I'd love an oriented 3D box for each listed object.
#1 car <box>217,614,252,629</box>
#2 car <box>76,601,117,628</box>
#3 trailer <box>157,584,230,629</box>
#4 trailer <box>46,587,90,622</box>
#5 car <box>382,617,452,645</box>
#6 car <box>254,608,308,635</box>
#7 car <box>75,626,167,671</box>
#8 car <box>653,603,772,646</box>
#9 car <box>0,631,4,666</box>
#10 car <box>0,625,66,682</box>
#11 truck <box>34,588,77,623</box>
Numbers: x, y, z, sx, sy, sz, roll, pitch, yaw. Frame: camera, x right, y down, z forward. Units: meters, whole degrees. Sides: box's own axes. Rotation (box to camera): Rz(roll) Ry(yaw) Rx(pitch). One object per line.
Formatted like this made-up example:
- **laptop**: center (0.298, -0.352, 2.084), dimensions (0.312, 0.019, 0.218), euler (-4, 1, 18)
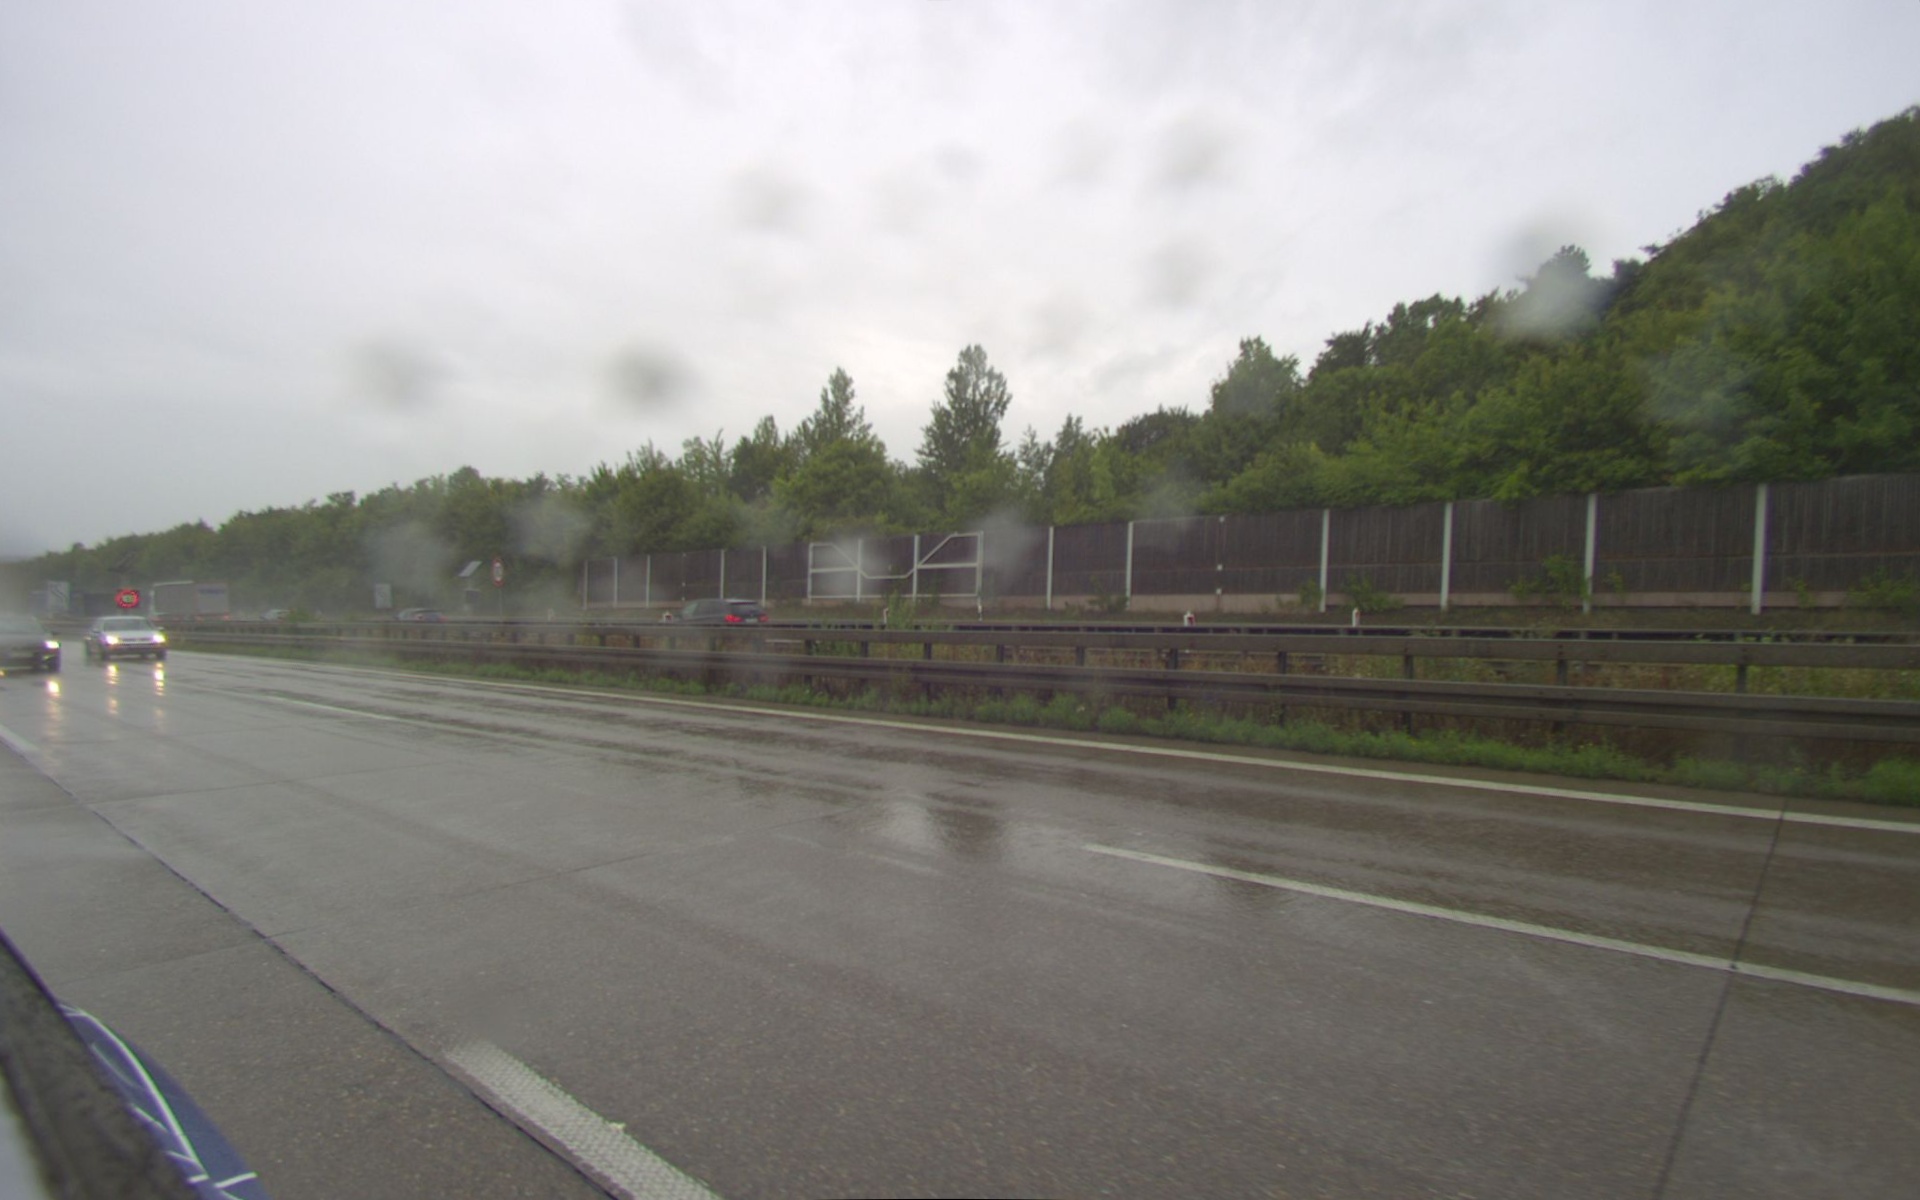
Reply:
- **car**: center (-68.979, 2.013, 96.235), dimensions (4.341, 1.313, 1.735), euler (-1, 1, 41)
- **car**: center (-87.895, 1.480, 102.942), dimensions (7.442, 2.586, 2.160), euler (-1, 1, 42)
- **trailer**: center (-70.722, 0.688, 93.244), dimensions (13.774, 3.830, 2.738), euler (-1, 1, 42)
- **trailer**: center (-110.132, 0.590, 124.915), dimensions (8.520, 4.185, 2.819), euler (-1, 1, 41)
- **car**: center (-28.040, 1.583, 52.226), dimensions (4.341, 1.313, 1.735), euler (-1, 1, 41)
- **car**: center (-44.121, 1.379, 65.758), dimensions (3.998, 1.697, 1.973), euler (-1, -1, 41)
- **car**: center (-28.602, 1.607, 34.464), dimensions (4.346, 1.445, 1.650), euler (-1, -2, 40)
- **car**: center (-8.463, 0.831, 34.429), dimensions (4.341, 1.313, 1.735), euler (-1, 1, 41)
- **car**: center (-41.812, 1.995, 42.539), dimensions (4.515, 1.445, 1.909), euler (-1, -2, 41)
- **car**: center (-25.901, 1.401, 27.475), dimensions (4.517, 1.445, 1.908), euler (-1, -2, 42)
- **truck**: center (-117.162, 0.746, 131.055), dimensions (10.172, 4.185, 2.819), euler (-1, 1, 41)
